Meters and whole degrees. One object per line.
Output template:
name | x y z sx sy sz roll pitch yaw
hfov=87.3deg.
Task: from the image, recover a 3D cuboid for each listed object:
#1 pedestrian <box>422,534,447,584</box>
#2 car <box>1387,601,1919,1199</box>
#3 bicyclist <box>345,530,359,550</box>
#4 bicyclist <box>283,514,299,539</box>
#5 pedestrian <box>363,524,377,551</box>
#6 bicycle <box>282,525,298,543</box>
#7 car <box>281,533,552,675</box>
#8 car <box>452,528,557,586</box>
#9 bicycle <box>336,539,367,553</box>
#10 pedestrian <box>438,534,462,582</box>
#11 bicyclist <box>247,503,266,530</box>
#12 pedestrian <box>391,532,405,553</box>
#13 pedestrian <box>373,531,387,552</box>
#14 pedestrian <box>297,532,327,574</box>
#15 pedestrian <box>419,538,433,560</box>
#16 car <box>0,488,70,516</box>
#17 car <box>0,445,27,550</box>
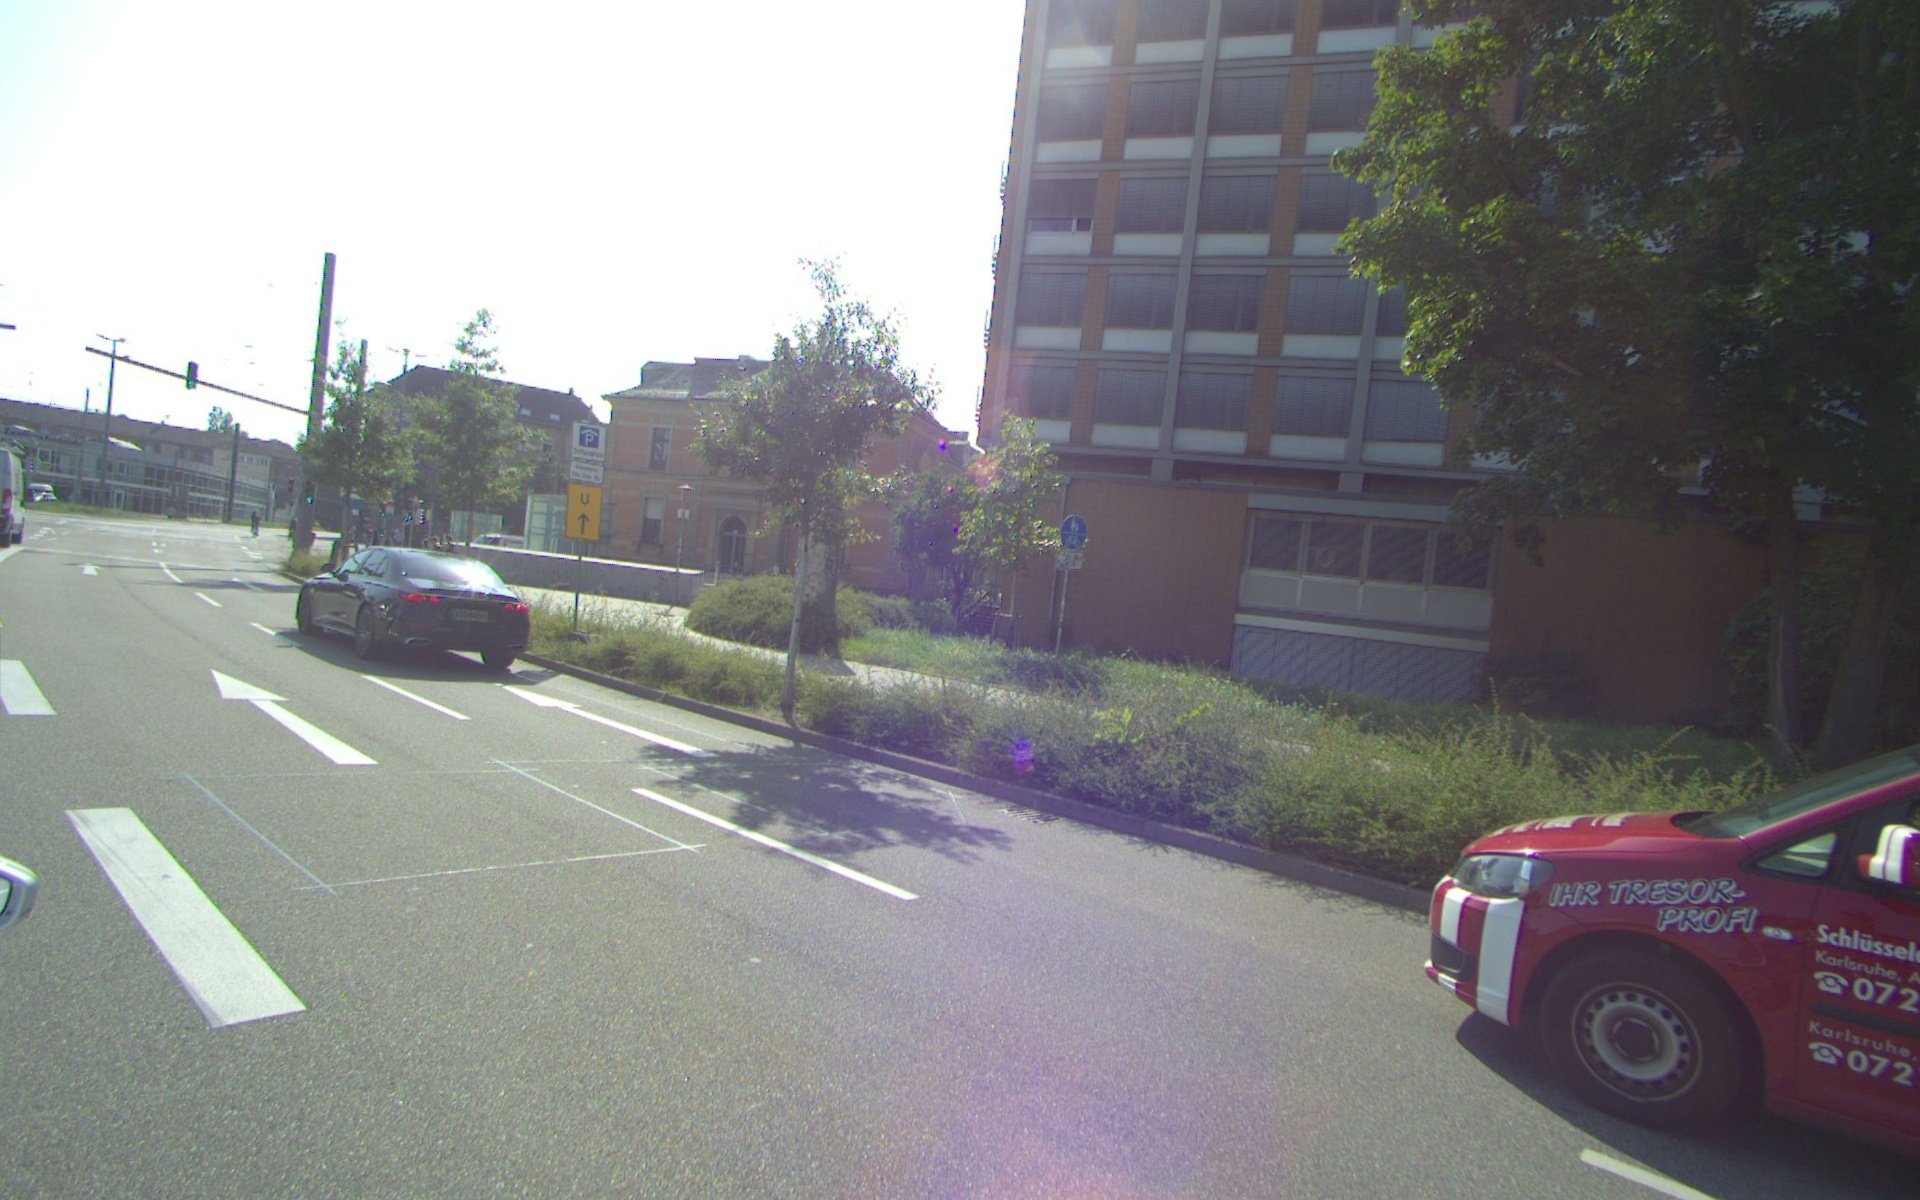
pedestrian | -18.307 -1.421 35.040 0.608 1.660 0.530 6 1 -25
car | 4.013 1.175 3.451 4.217 1.841 1.730 6 0 41
bicyclist | -48.822 -4.837 80.814 0.797 1.479 0.743 6 1 -27
bicyclist | -44.819 -4.905 67.399 0.707 1.549 0.800 6 1 -32
pedestrian | -45.067 -4.774 76.819 0.798 1.913 0.742 6 1 -32
bicycle | -44.844 -4.427 67.369 0.701 1.075 1.966 6 1 -31
car | -7.851 -0.008 14.287 4.807 1.457 1.817 6 -1 43
car | -20.541 -1.899 45.521 1.722 2.039 3.995 10 2 26
bicycle | -48.879 -4.343 80.816 2.034 0.905 0.741 7 1 -28
pedestrian | -18.155 -1.487 35.807 0.608 1.649 0.530 6 1 -25
bicyclist | -45.093 -5.351 64.479 0.766 1.598 0.983 6 0 -30
pedestrian | -39.276 -4.002 70.318 0.652 1.378 0.654 7 2 -28
pedestrian | -39.995 -4.034 69.390 0.652 1.378 0.654 7 2 -28
pedestrian | -22.920 -1.657 35.581 0.625 1.379 0.635 7 1 41
pedestrian | -35.039 -3.354 66.043 0.652 1.378 0.654 7 2 -28
car | -62.599 -6.630 67.537 1.902 1.359 3.962 7 0 39
car | -26.198 -2.818 26.479 2.181 2.580 4.628 6 0 -43
